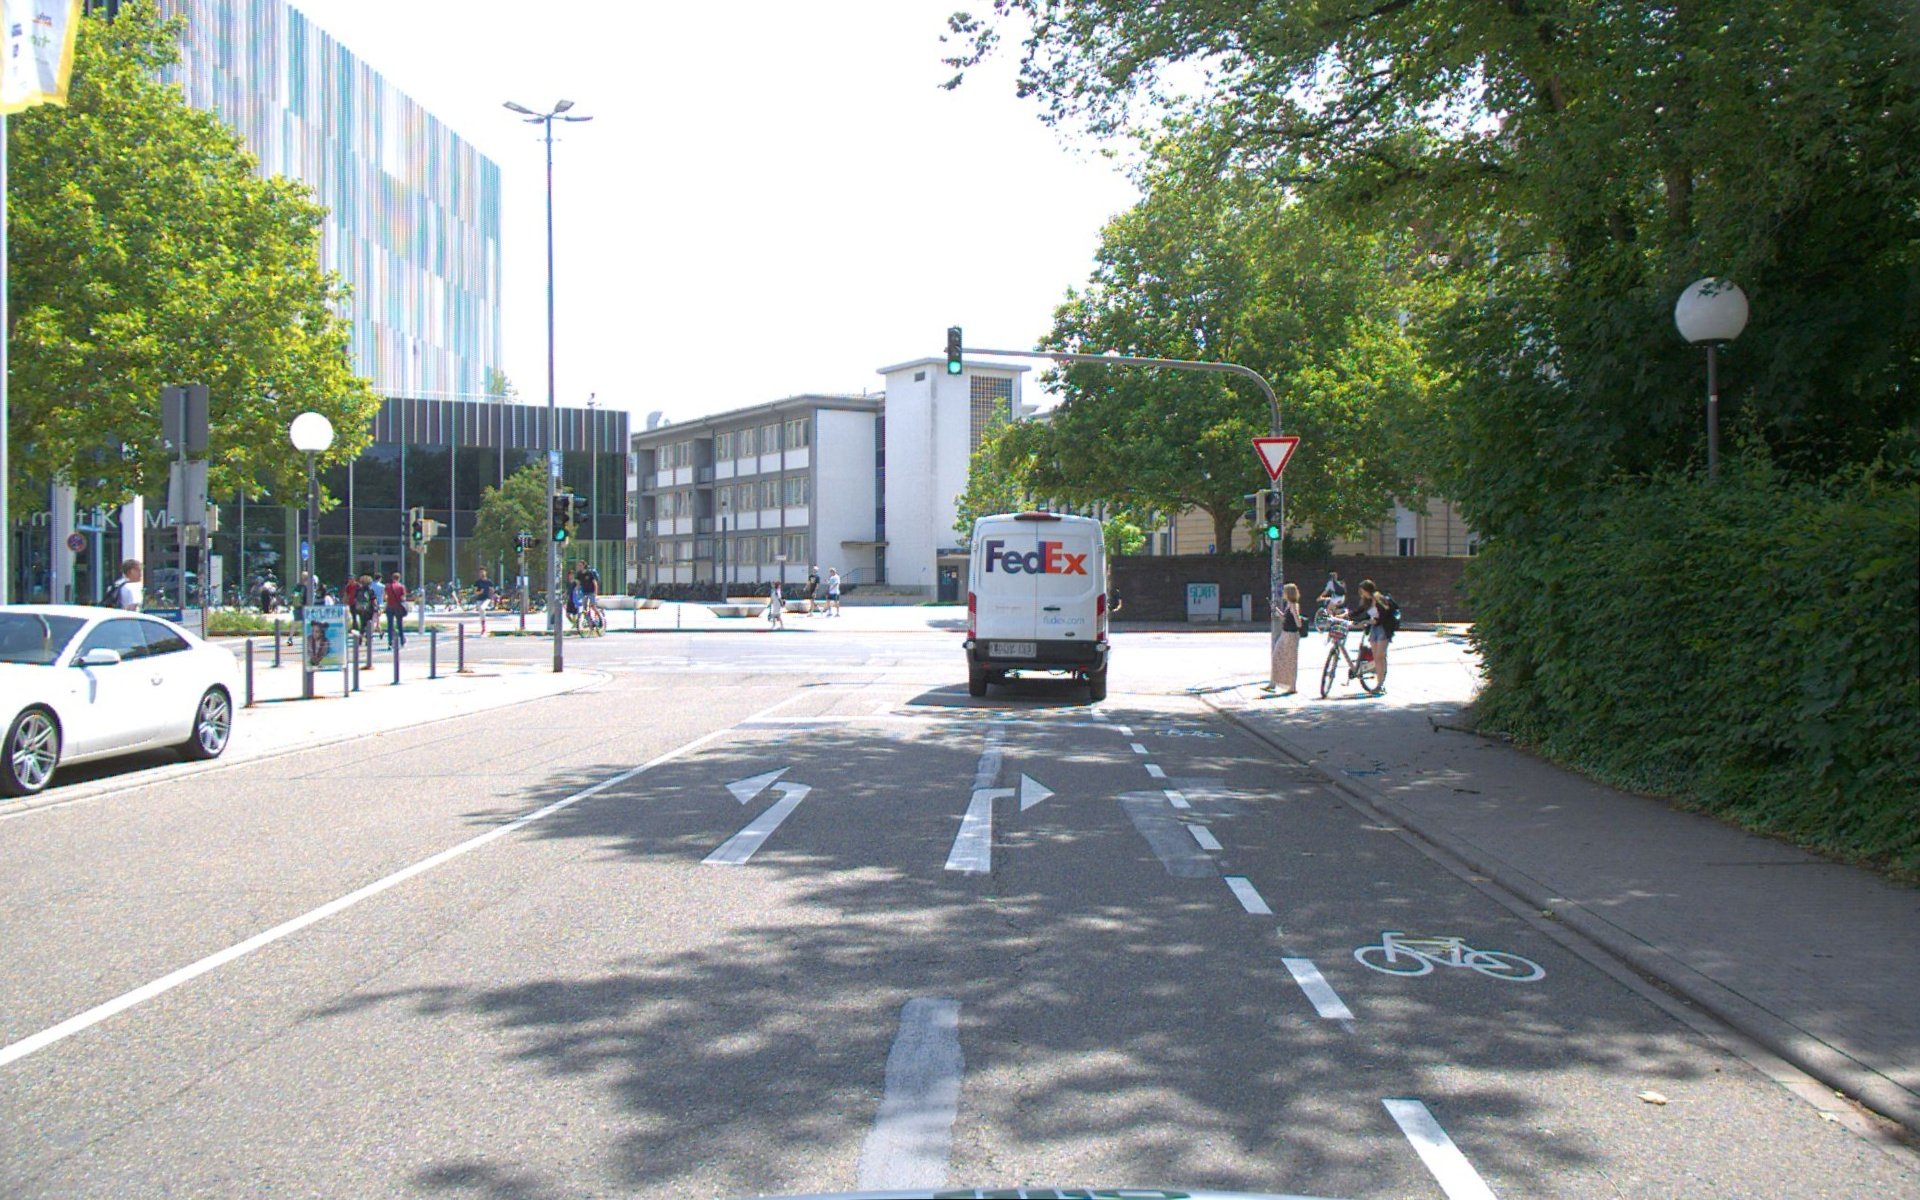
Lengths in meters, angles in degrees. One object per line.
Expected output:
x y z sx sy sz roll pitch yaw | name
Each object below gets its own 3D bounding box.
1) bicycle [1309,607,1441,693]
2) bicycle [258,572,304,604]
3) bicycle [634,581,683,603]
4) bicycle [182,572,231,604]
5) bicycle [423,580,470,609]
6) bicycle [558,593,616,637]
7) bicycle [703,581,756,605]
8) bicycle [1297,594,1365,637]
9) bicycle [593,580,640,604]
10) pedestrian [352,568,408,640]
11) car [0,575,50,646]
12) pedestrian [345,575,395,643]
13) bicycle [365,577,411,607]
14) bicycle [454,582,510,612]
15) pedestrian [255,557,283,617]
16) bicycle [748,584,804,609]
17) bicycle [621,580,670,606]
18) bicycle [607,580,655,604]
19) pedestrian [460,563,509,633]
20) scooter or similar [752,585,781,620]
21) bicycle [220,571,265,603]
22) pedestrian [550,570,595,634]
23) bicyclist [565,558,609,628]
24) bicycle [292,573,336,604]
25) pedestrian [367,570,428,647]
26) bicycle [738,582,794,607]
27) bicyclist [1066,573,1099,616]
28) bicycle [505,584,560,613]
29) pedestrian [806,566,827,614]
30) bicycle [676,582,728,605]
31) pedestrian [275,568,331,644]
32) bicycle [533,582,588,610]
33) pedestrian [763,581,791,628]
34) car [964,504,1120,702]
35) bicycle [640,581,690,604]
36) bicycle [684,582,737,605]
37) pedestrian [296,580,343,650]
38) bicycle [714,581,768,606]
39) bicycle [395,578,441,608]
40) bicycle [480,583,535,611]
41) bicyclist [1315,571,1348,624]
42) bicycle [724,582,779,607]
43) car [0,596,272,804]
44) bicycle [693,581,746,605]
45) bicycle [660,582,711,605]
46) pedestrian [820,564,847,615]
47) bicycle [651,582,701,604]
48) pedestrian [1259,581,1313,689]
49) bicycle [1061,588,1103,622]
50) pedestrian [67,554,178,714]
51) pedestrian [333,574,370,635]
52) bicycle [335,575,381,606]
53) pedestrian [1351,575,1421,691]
5.975 0.719 23.859 1.703 1.146 0.593 -3 -1 -5 | bicycle
-28.157 -0.502 68.556 1.186 1.259 2.916 1 0 -34 | bicycle
-19.432 -0.489 106.495 2.932 1.387 1.103 0 0 -36 | bicycle
-30.437 -0.477 66.771 1.361 1.259 2.916 1 0 -34 | bicycle
-22.673 -0.239 72.990 1.187 1.259 2.915 1 0 -35 | bicycle
-10.066 0.380 44.713 0.754 1.142 2.028 0 1 12 | bicycle
-13.462 -0.393 96.732 2.932 1.387 1.103 0 0 -36 | bicycle
10.411 0.424 46.446 0.544 1.150 2.151 0 0 -31 | bicycle
-23.302 -0.559 112.259 2.932 1.602 1.103 0 0 -36 | bicycle
-15.214 0.089 43.391 0.844 1.850 1.095 0 0 25 | pedestrian
-24.880 0.256 40.569 4.192 1.690 1.654 0 1 3 | car
-14.804 0.210 41.521 0.808 1.683 0.862 0 1 19 | pedestrian
-24.774 -0.347 71.598 1.186 1.259 2.916 1 0 -34 | bicycle
-21.259 -0.137 73.540 1.191 1.259 2.905 0 0 -43 | bicycle
-30.214 -0.576 72.314 0.964 2.609 1.003 1 0 -34 | pedestrian
-10.244 -0.186 92.069 2.932 1.387 1.103 0 0 -36 | bicycle
-20.444 -0.456 107.597 2.932 1.602 1.103 0 0 -36 | bicycle
-21.969 -0.525 110.496 2.932 1.602 1.103 0 0 -36 | bicycle
-13.140 -0.060 45.734 0.687 1.887 1.400 0 2 11 | pedestrian
-6.983 0.079 59.583 0.704 1.198 2.715 0 1 -14 | scooter or similar
-29.299 -0.535 67.536 1.186 1.259 2.916 1 0 -34 | bicycle
-11.791 0.050 50.325 0.813 1.903 1.083 0 0 25 | pedestrian
-10.065 -0.194 44.644 0.772 1.849 1.000 0 1 12 | bicyclist
-27.079 -0.493 69.312 1.186 1.259 2.918 1 0 -32 | bicycle
-13.609 0.195 40.043 0.789 1.839 1.267 0 0 20 | pedestrian
-10.928 -0.307 93.195 2.932 1.387 1.103 0 0 -36 | bicycle
4.310 -0.210 58.279 0.832 1.493 1.067 0 1 25 | bicyclist
-19.418 -0.077 75.111 1.191 1.259 2.905 0 0 -43 | bicycle
-5.545 -0.380 63.694 0.658 1.846 0.812 0 0 -17 | pedestrian
-15.588 -0.396 99.946 2.932 1.387 1.103 0 0 -36 | bicycle
-16.616 0.143 41.857 0.835 1.909 1.006 0 0 25 | pedestrian
-18.360 -0.176 75.928 1.191 1.259 2.905 0 0 -43 | bicycle
-6.114 0.134 55.336 0.812 1.550 0.811 0 0 -17 | pedestrian
1.172 -0.002 24.971 2.052 2.611 5.603 1 1 1 | car
-18.788 -0.476 105.291 2.932 1.387 1.103 0 0 -36 | bicycle
-14.912 -0.389 98.897 2.932 1.387 1.103 0 0 -36 | bicycle
-15.148 0.351 39.155 0.754 1.625 0.799 0 0 4 | pedestrian
-12.627 -0.371 95.538 2.932 1.387 1.103 0 0 -36 | bicycle
-23.729 -0.322 72.338 1.186 1.259 2.916 1 0 -34 | bicycle
-20.374 -0.141 74.423 1.191 1.259 2.905 0 0 -43 | bicycle
10.429 -0.071 46.427 0.509 1.477 0.779 0 0 -31 | bicyclist
-11.906 -0.325 94.495 2.932 1.387 1.260 0 0 -36 | bicycle
-7.677 0.726 13.856 1.642 1.419 4.664 2 1 3 | car
-14.197 -0.404 97.817 2.932 1.387 1.103 0 0 -36 | bicycle
-16.918 -0.422 101.894 2.932 1.387 1.103 0 0 -36 | bicycle
-4.800 -0.396 62.928 0.851 1.922 0.909 0 0 -17 | pedestrian
-17.743 -0.439 103.409 2.932 1.387 1.103 0 0 -36 | bicycle
4.892 0.515 24.861 0.715 1.603 0.776 -1 0 7 | pedestrian
4.318 0.169 58.316 0.830 1.165 1.994 0 1 25 | bicycle
-10.218 0.401 20.210 0.704 1.883 1.089 1 1 6 | pedestrian
-17.261 0.132 46.935 0.738 1.708 0.755 0 0 1 | pedestrian
-25.796 -0.411 70.851 1.186 1.259 2.916 1 0 -34 | bicycle
6.122 0.470 23.801 0.716 1.603 0.726 -2 -1 -4 | pedestrian
